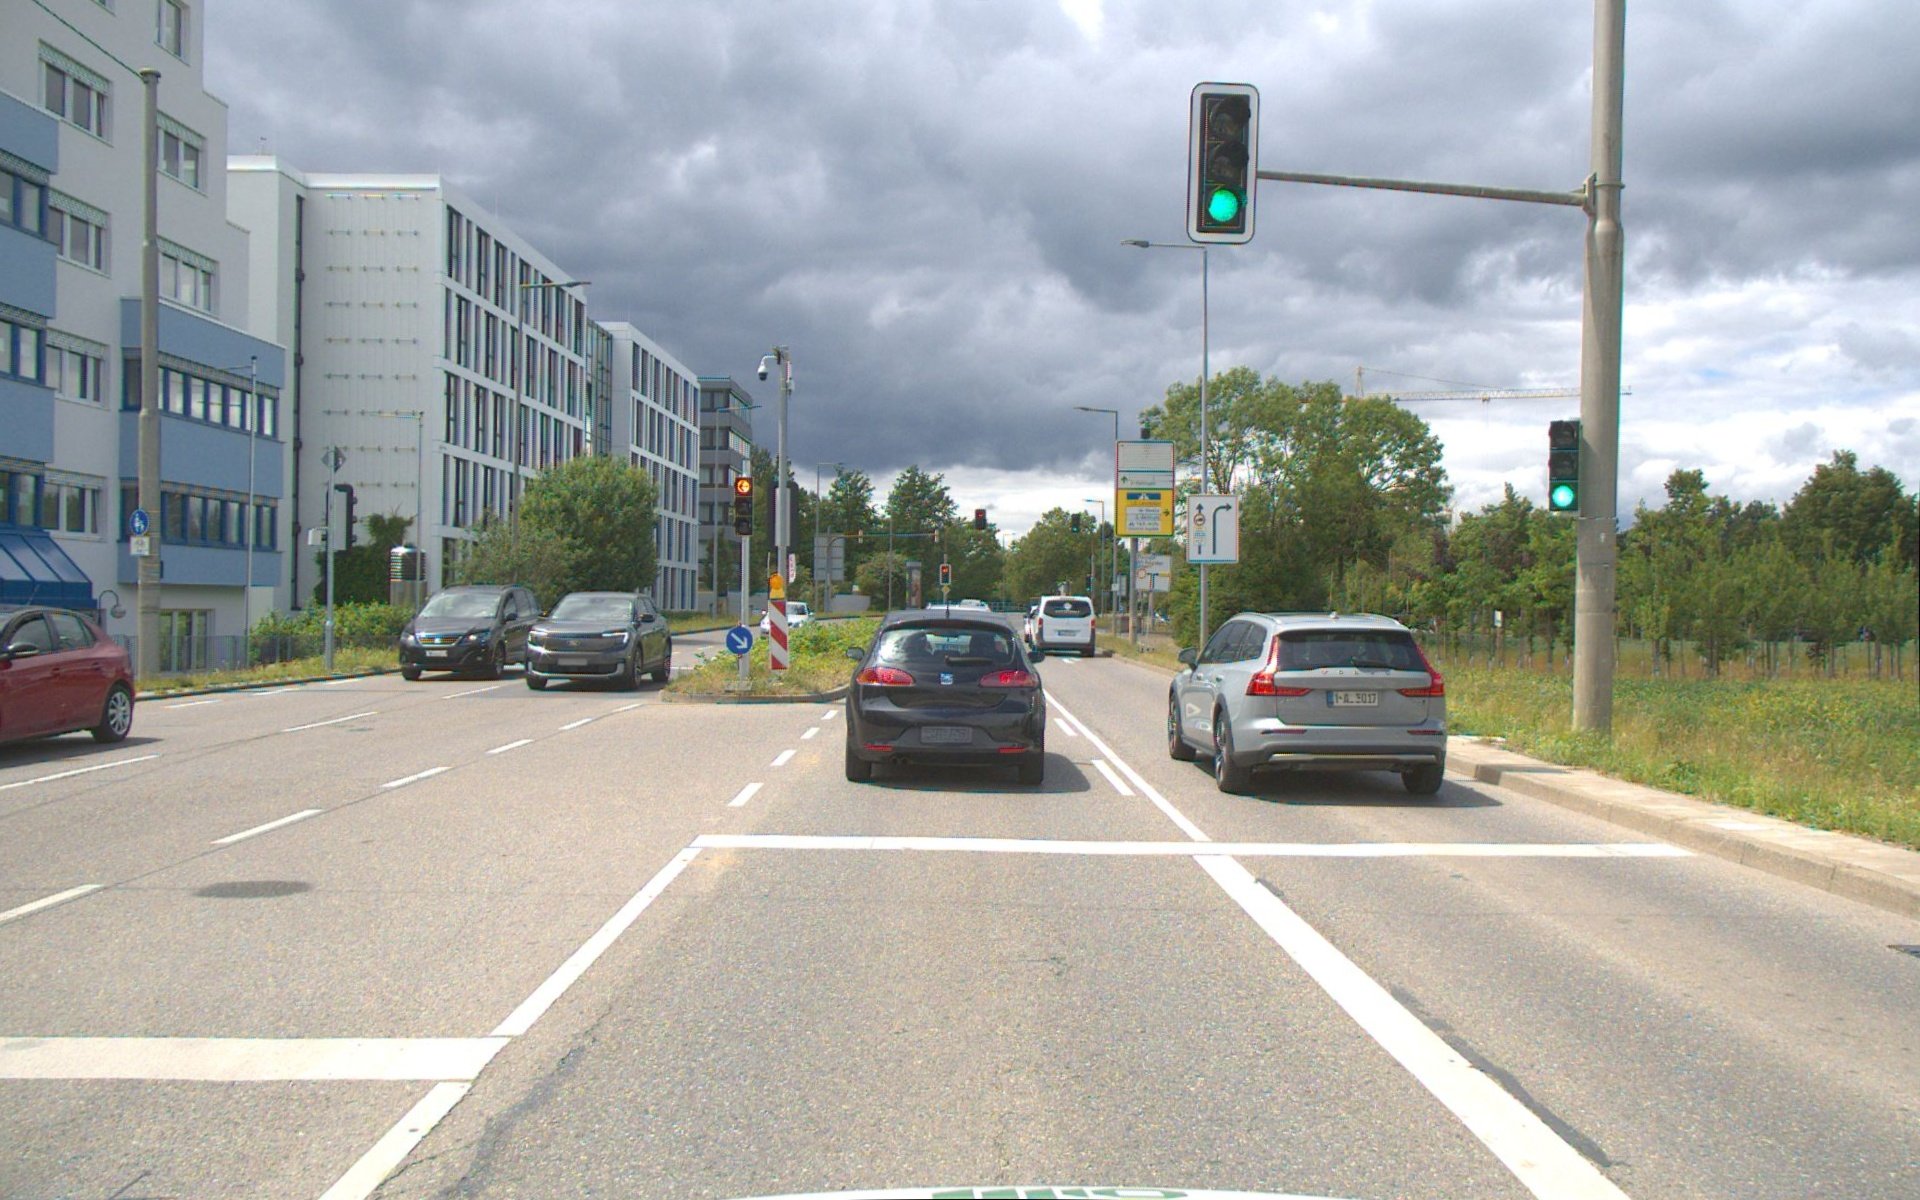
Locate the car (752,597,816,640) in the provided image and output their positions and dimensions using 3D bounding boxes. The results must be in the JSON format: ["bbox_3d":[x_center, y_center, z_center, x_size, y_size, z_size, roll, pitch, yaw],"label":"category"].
[{"bbox_3d":[-6.346,0.660,60.014,1.755,1.473,4.422,1,0,1],"label":"car"}]

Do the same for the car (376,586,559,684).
[{"bbox_3d":[-9.319,0.618,31.729,1.952,1.732,4.761,0,0,2],"label":"car"}]

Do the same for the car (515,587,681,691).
[{"bbox_3d":[-6.107,0.615,28.411,1.953,1.646,4.305,0,0,-1],"label":"car"}]

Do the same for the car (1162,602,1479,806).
[{"bbox_3d":[3.047,0.807,14.934,1.825,1.545,4.445,0,0,-1],"label":"car"}]

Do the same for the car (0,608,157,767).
[{"bbox_3d":[-9.609,0.812,16.017,1.744,1.440,3.999,-1,0,-1],"label":"car"}]

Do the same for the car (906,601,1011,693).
[{"bbox_3d":[-0.016,0.786,29.329,1.737,1.517,3.582,0,0,0],"label":"car"}]

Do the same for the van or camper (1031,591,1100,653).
[{"bbox_3d":[3.347,0.683,53.227,1.952,1.892,4.944,1,0,1],"label":"van or camper"}]

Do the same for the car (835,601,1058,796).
[{"bbox_3d":[-0.042,0.789,15.036,1.736,1.477,3.583,2,0,2],"label":"car"}]
